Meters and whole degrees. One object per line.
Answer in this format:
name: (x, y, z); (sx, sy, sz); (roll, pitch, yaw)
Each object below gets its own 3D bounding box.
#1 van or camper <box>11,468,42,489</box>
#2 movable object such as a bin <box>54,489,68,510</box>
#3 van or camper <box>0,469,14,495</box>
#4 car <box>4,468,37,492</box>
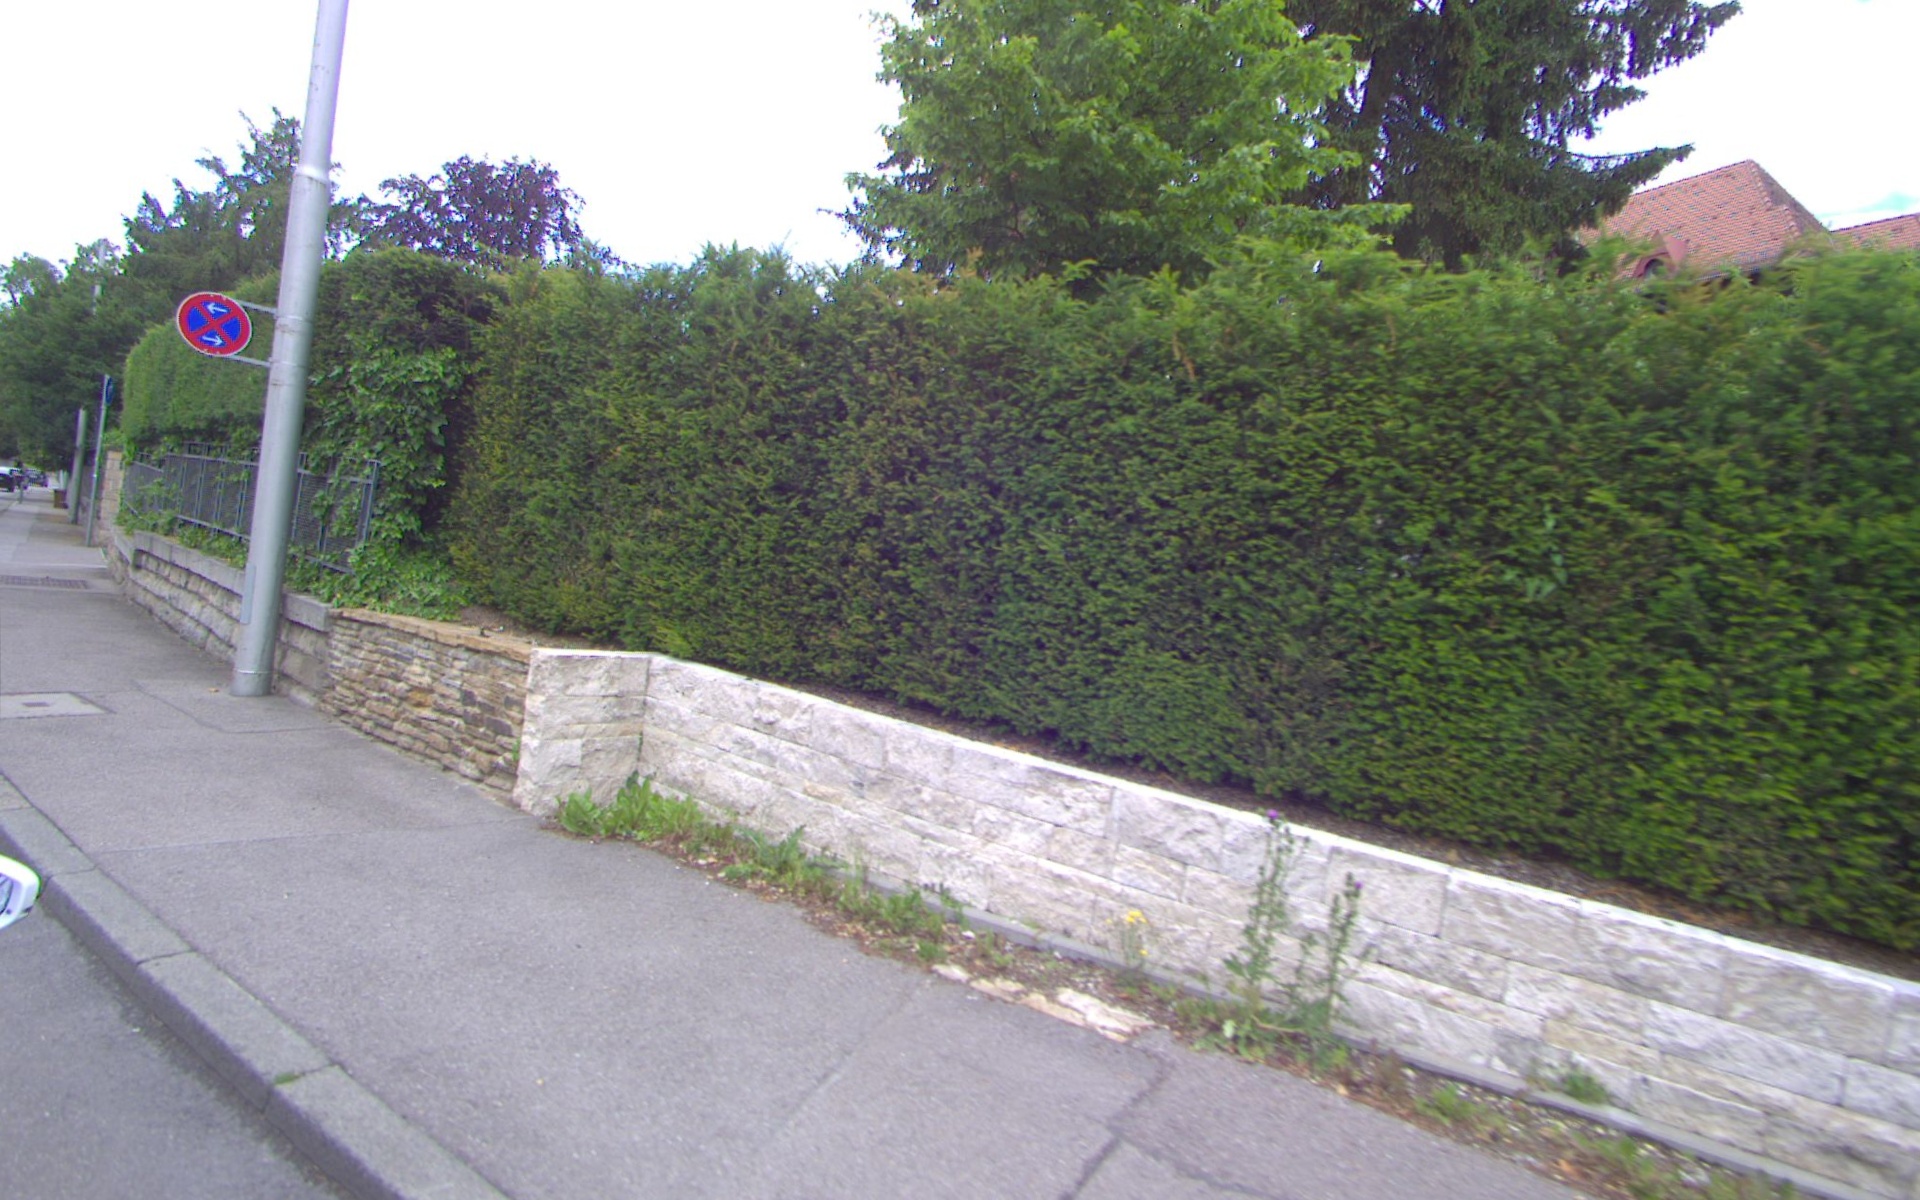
van or camper: (-88.112, -11.458, 94.978); (1.985, 1.673, 3.952); (5, 2, -42)
movable object such as a bin: (-42.940, -4.794, 48.054); (0.441, 0.924, 0.390); (0, 9, -32)
van or camper: (-67.897, -8.392, 70.589); (1.985, 1.673, 3.952); (5, 2, -42)
car: (-77.747, -9.908, 83.269); (1.637, 1.579, 3.611); (7, -2, -39)
